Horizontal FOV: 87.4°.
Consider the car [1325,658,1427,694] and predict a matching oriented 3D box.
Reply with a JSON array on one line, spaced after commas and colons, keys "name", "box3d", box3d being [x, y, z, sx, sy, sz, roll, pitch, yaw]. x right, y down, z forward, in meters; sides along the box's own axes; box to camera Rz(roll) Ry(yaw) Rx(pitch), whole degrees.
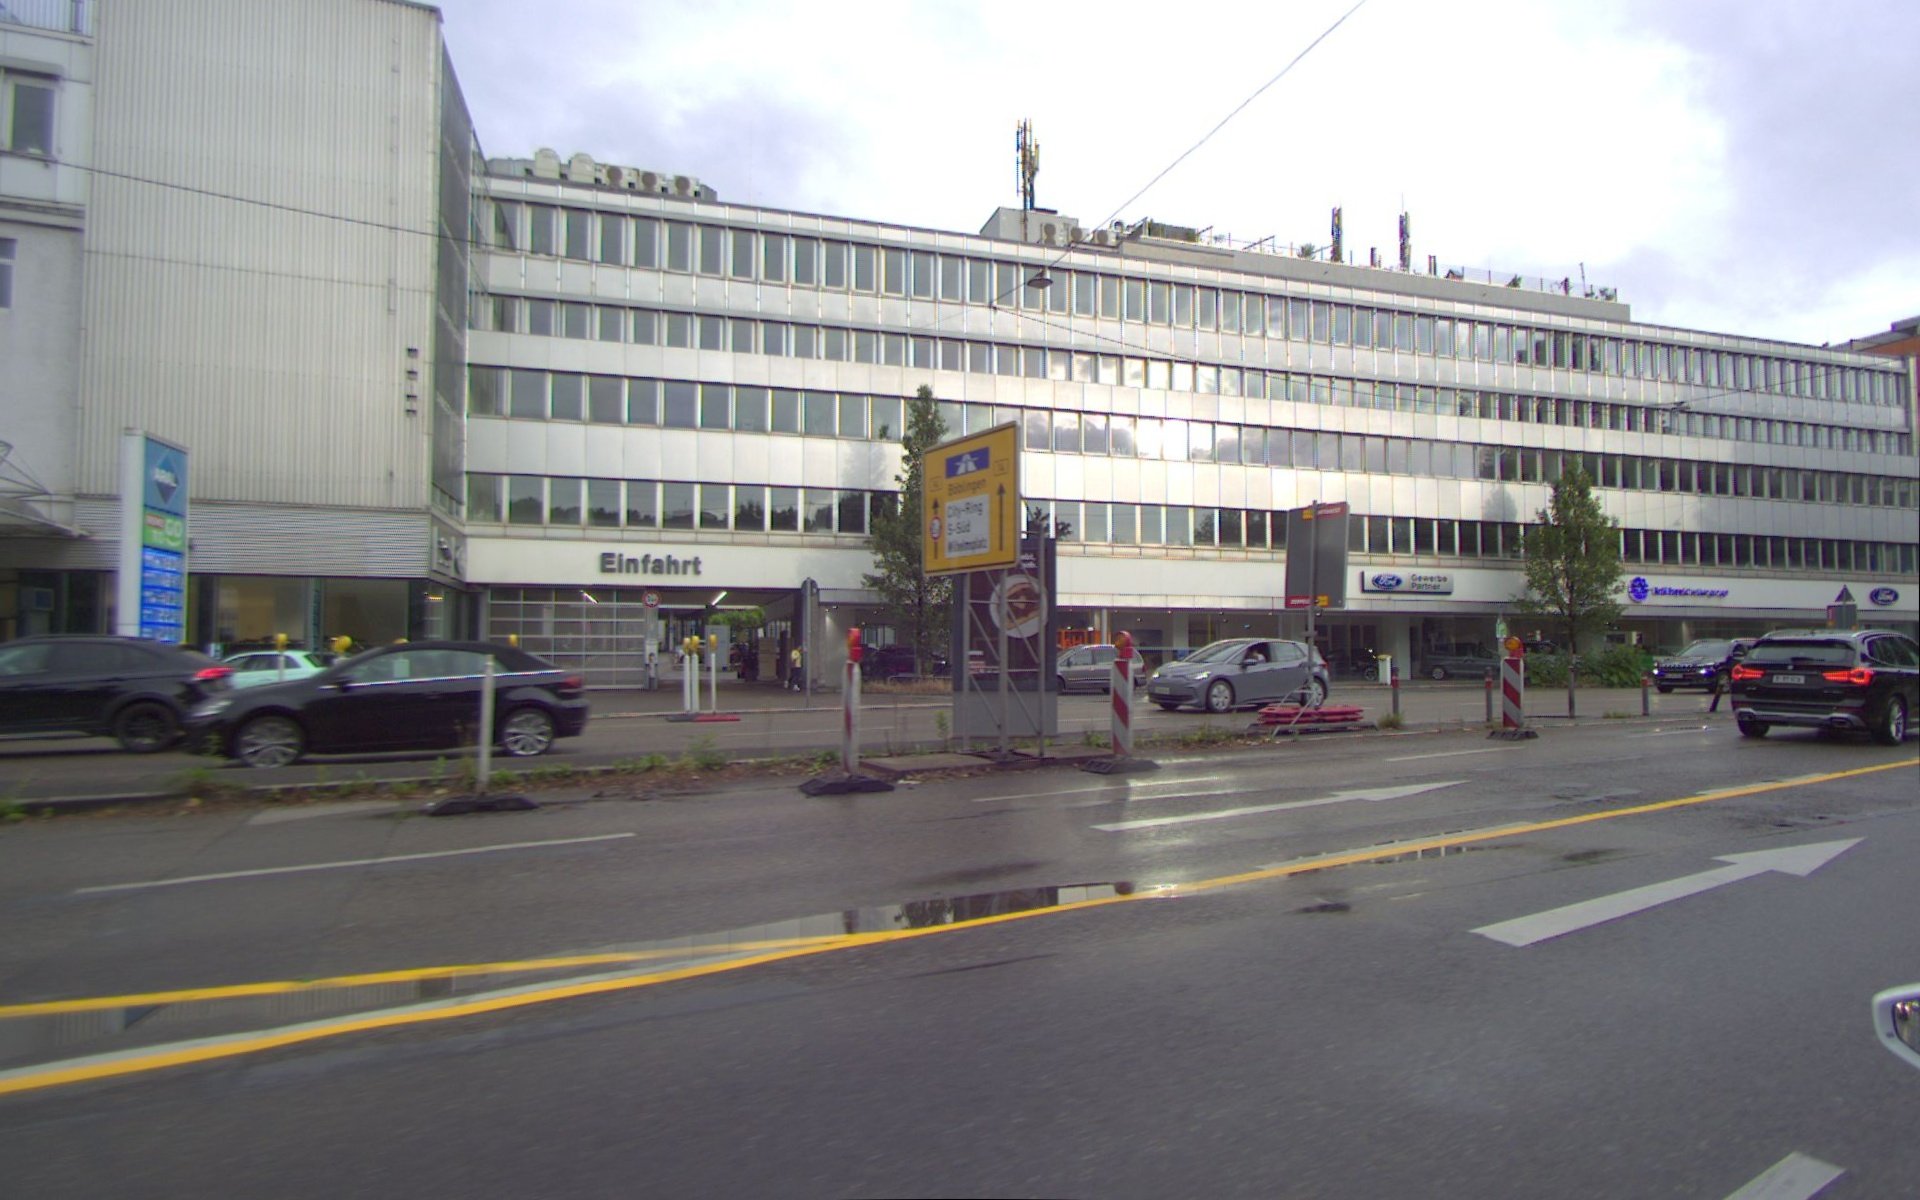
[{"name": "car", "box3d": [19.219, 3.533, 46.456, 3.931, 1.594, 1.996, 1, -5, -13]}]

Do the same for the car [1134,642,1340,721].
[{"name": "car", "box3d": [6.064, 1.771, 21.938, 4.246, 1.578, 1.802, 2, -4, -27]}]

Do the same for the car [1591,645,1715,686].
[{"name": "car", "box3d": [36.106, 3.447, 52.536, 5.114, 2.037, 1.997, -3, -5, 30]}]

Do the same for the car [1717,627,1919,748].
[{"name": "car", "box3d": [14.031, 1.242, 15.568, 4.612, 1.619, 1.939, 1, -1, -28]}]

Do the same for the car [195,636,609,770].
[{"name": "car", "box3d": [-6.519, 1.207, 12.130, 4.066, 1.371, 1.682, 3, -5, -30]}]

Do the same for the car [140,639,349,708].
[{"name": "car", "box3d": [-16.894, 1.768, 23.934, 3.701, 1.554, 1.650, 2, -5, -22]}]

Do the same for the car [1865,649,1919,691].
[{"name": "car", "box3d": [36.884, 2.699, 38.365, 4.313, 1.521, 1.825, 2, -5, -25]}]

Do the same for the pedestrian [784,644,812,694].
[{"name": "pedestrian", "box3d": [-5.790, 2.469, 35.913, 0.657, 1.742, 0.706, -2, -5, 29]}]

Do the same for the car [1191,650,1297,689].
[{"name": "car", "box3d": [12.941, 3.207, 45.840, 4.307, 1.673, 1.852, -3, -5, 29]}]

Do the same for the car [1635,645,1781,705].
[{"name": "car", "box3d": [23.353, 2.352, 31.351, 4.546, 1.760, 1.839, 2, -4, -27]}]

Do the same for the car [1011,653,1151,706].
[{"name": "car", "box3d": [4.334, 2.863, 36.031, 4.654, 1.801, 1.849, 1, -5, -17]}]

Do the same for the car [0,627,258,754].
[{"name": "car", "box3d": [-11.680, 1.170, 13.054, 3.953, 1.533, 1.744, 3, -5, -30]}]

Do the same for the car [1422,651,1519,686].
[{"name": "car", "box3d": [24.943, 3.382, 49.128, 3.936, 1.594, 1.994, -4, -6, 36]}]

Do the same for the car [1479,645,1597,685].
[{"name": "car", "box3d": [29.335, 3.349, 51.193, 4.892, 1.921, 2.000, -2, -5, 22]}]
